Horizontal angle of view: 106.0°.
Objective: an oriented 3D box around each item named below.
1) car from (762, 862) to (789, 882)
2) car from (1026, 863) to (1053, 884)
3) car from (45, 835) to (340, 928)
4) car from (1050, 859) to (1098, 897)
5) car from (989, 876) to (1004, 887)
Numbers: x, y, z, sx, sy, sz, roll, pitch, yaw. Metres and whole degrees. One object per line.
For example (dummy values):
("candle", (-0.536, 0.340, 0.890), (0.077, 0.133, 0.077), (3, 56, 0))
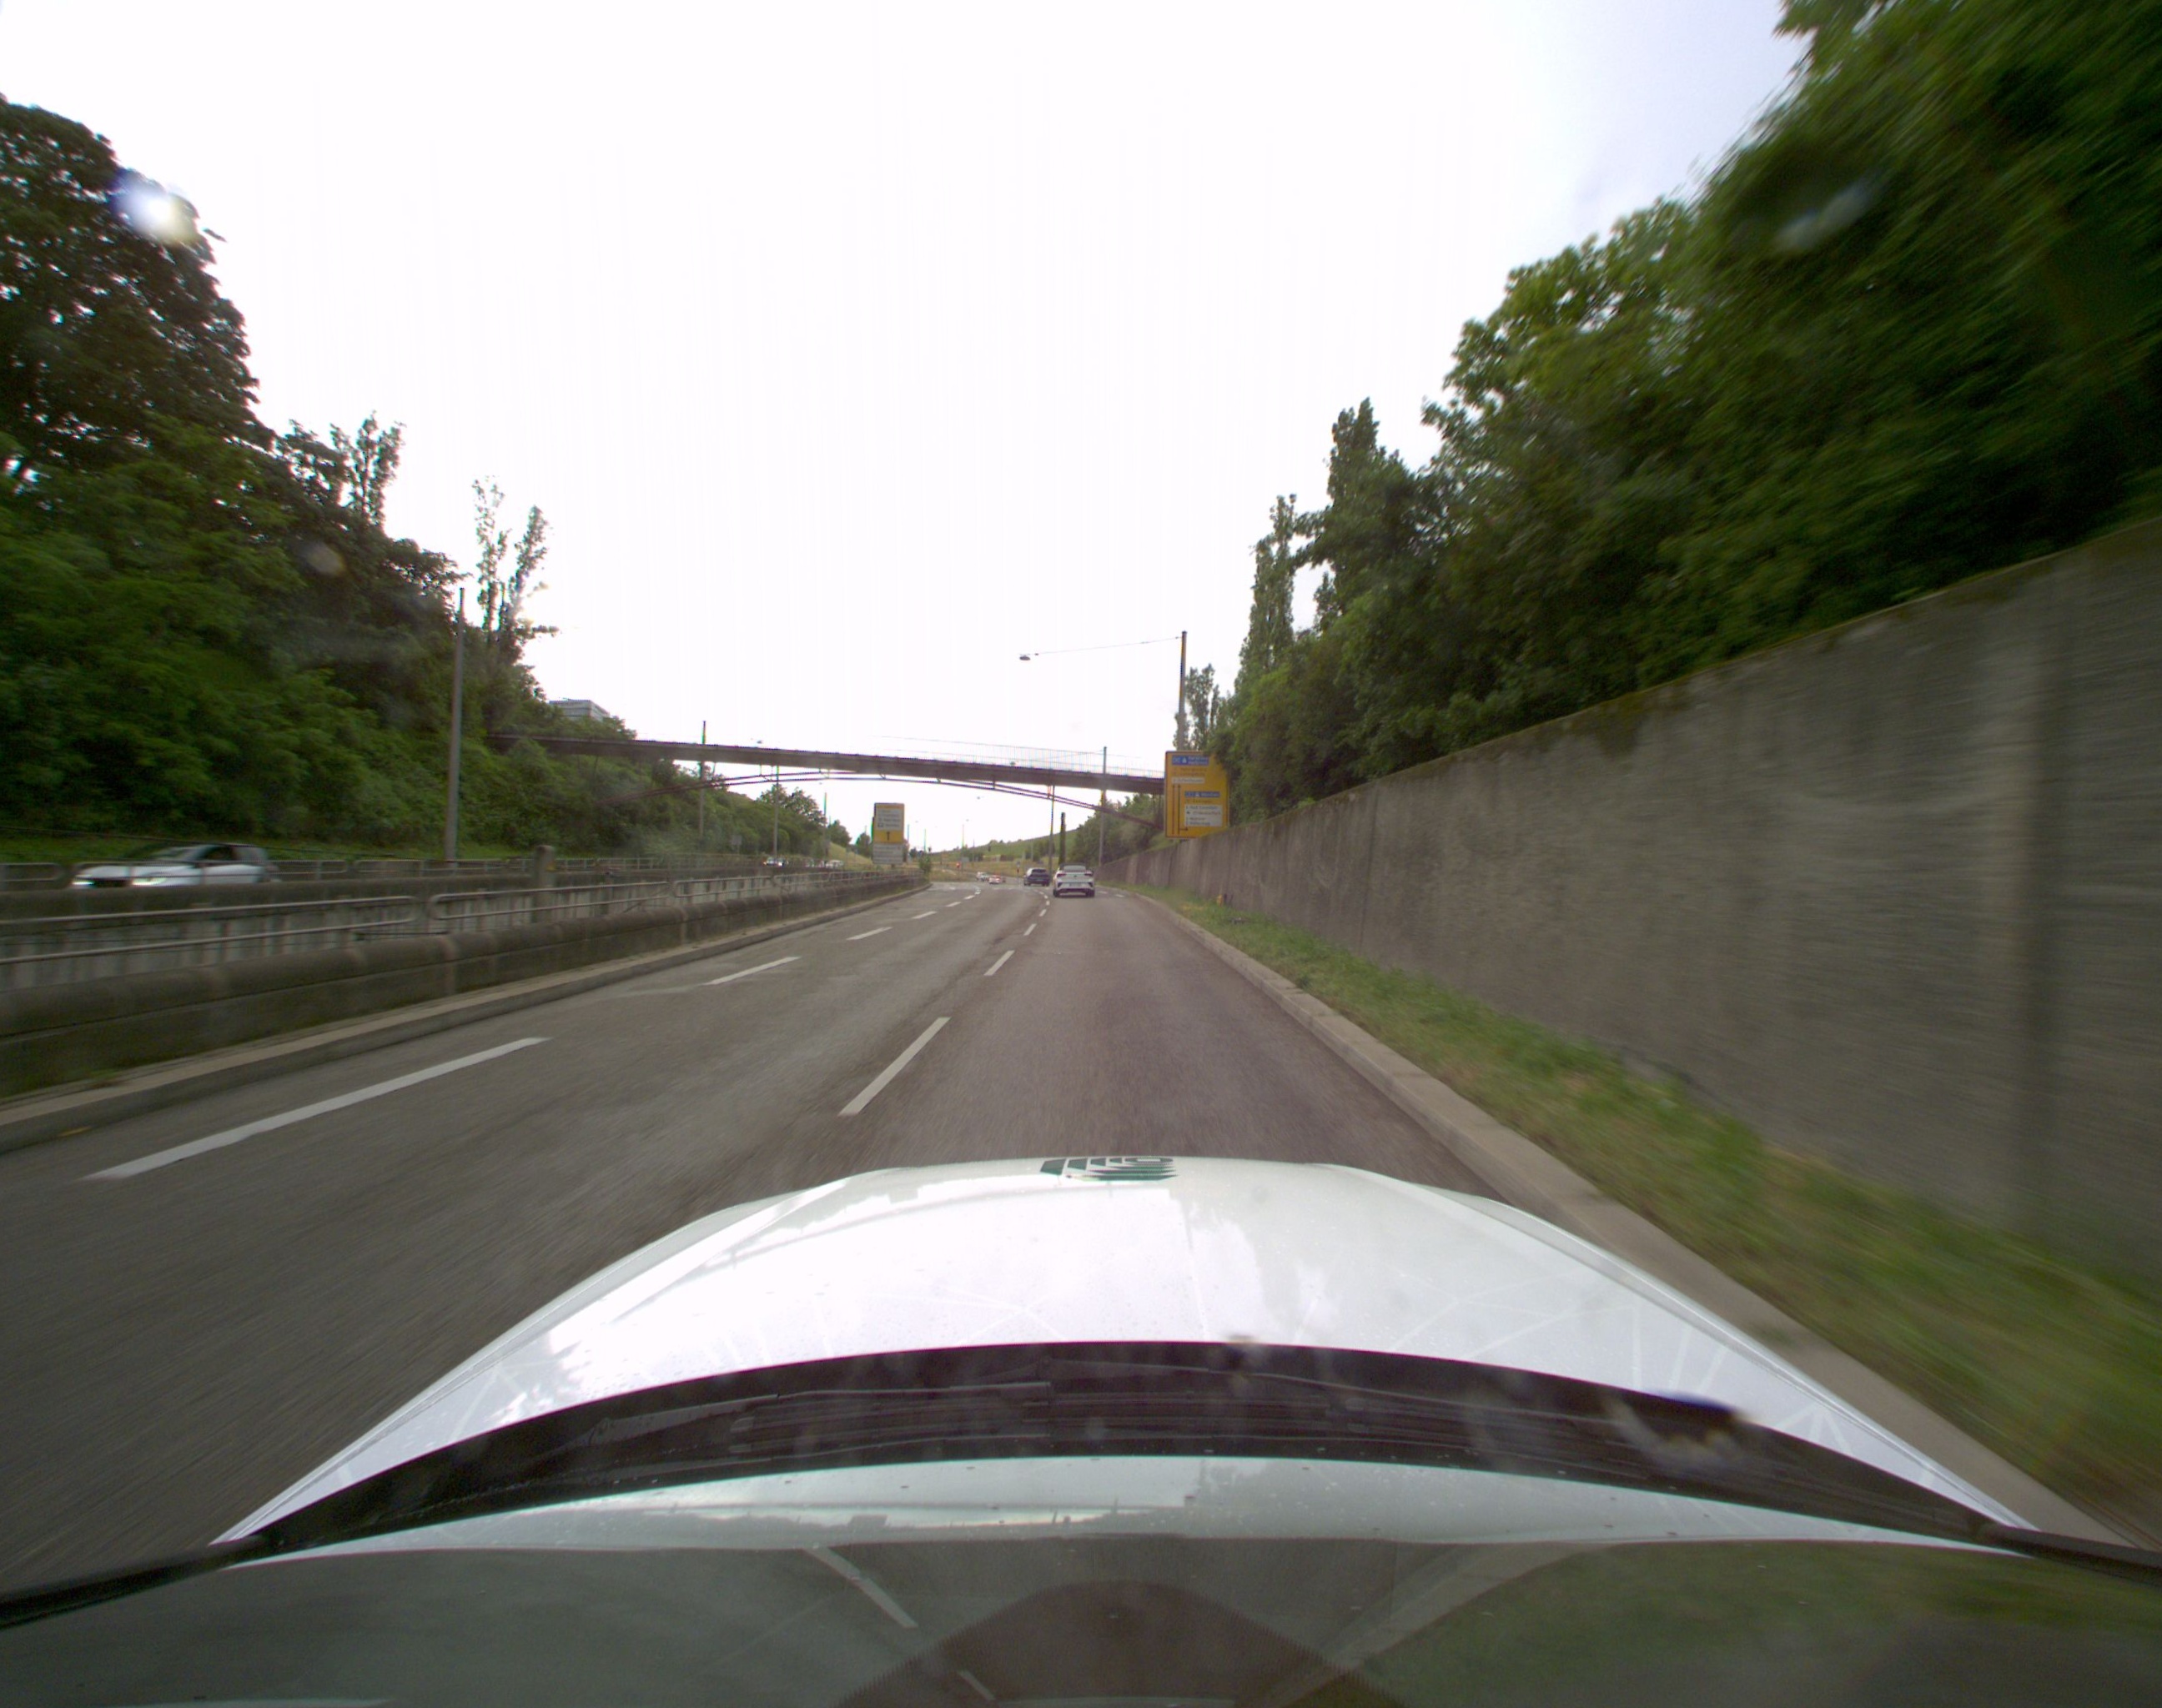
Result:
("car", (-30.525, 1.791, 81.377), (1.671, 1.916, 4.543), (0, -1, -10))
("car", (-3.386, 1.586, 66.164), (1.924, 1.599, 4.051), (-1, 0, -7))
("car", (-18.815, 0.545, 17.595), (1.957, 1.750, 4.135), (-1, -1, -4))
("car", (-0.372, 1.041, 37.220), (1.991, 1.578, 4.121), (-1, 0, -3))
("car", (-14.036, 4.565, 135.087), (1.767, 1.519, 3.727), (4, -3, 4))
